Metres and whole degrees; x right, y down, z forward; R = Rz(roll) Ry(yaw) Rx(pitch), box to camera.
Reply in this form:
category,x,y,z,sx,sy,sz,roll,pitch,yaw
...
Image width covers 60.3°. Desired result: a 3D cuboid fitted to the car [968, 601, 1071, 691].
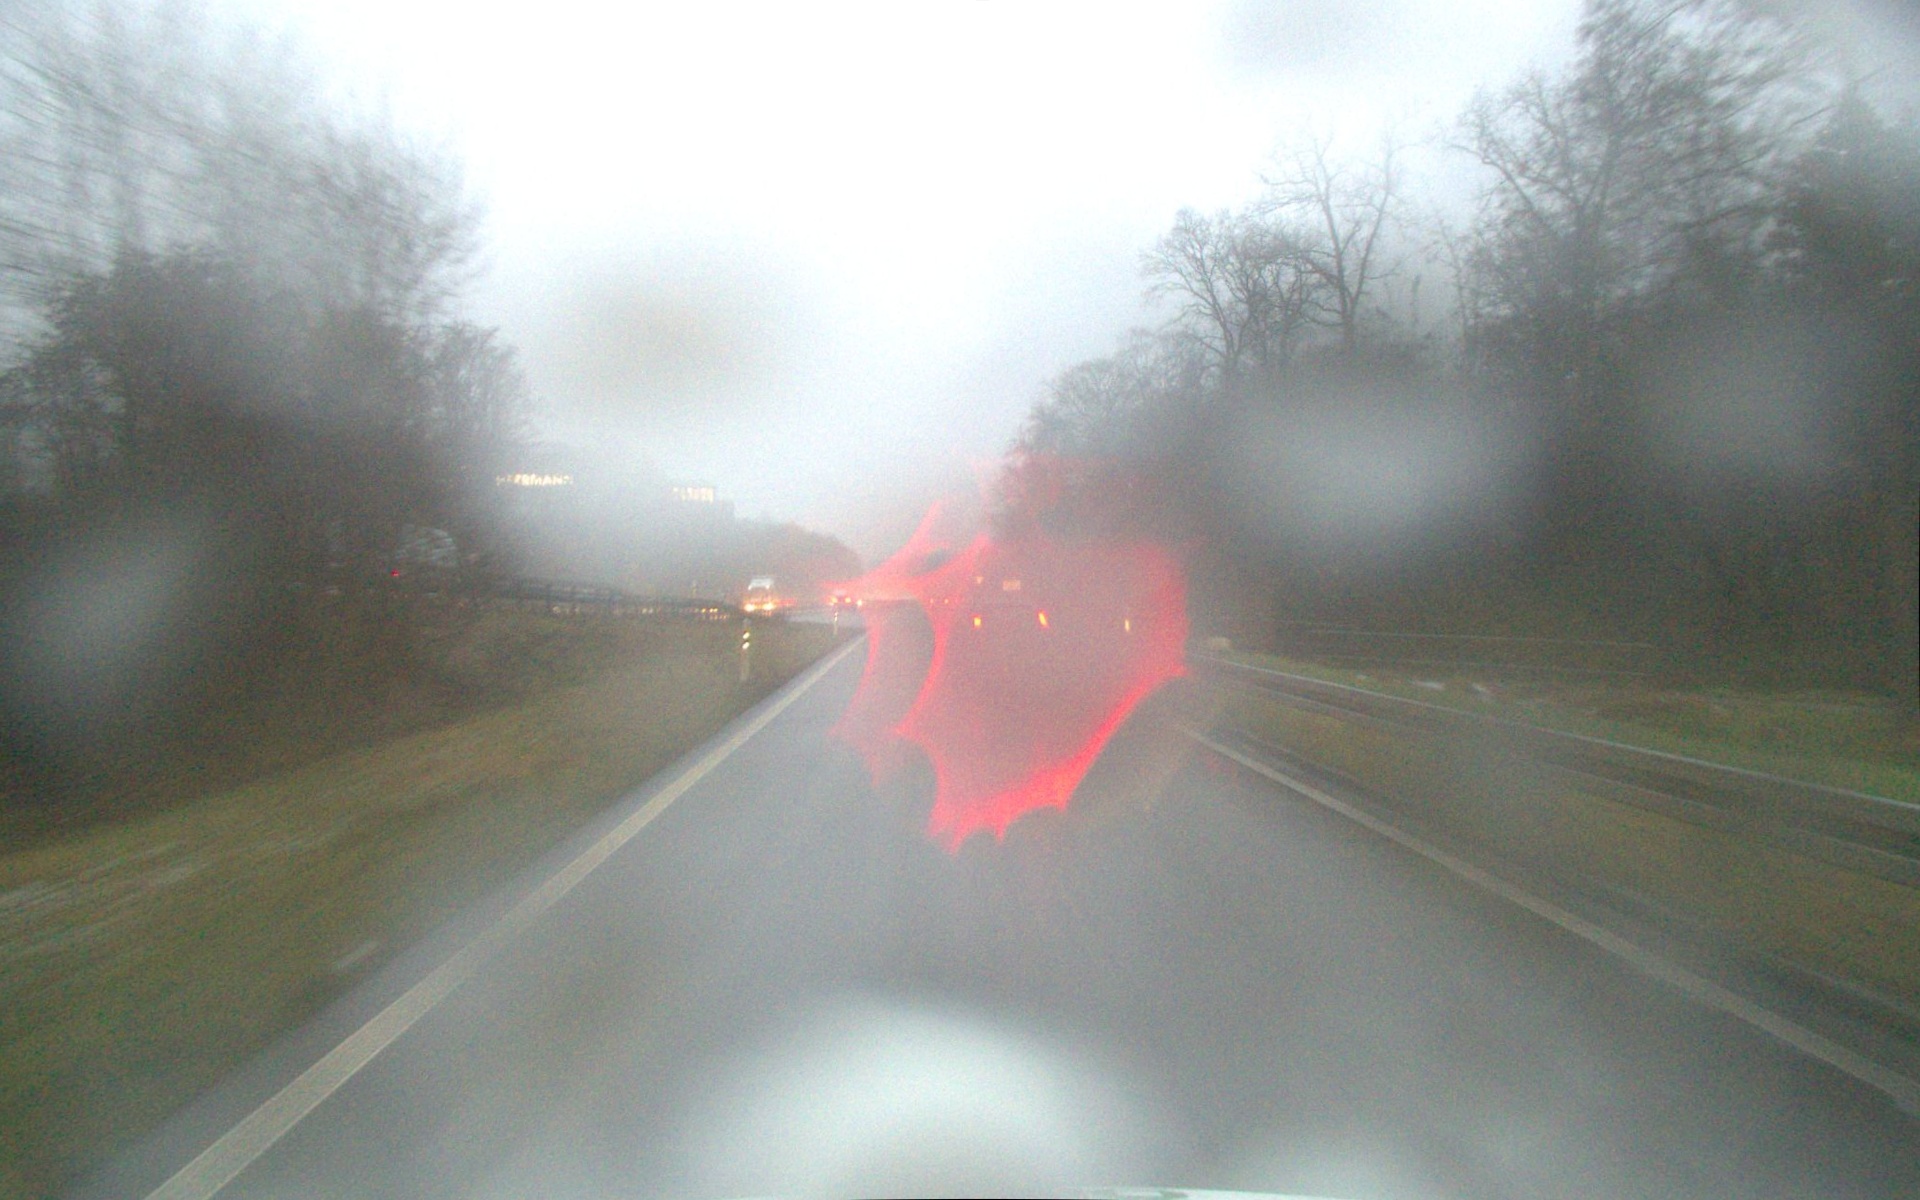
category,x,y,z,sx,sy,sz,roll,pitch,yaw
car,1.042,0.803,30.610,1.697,1.454,3.765,3,0,0
